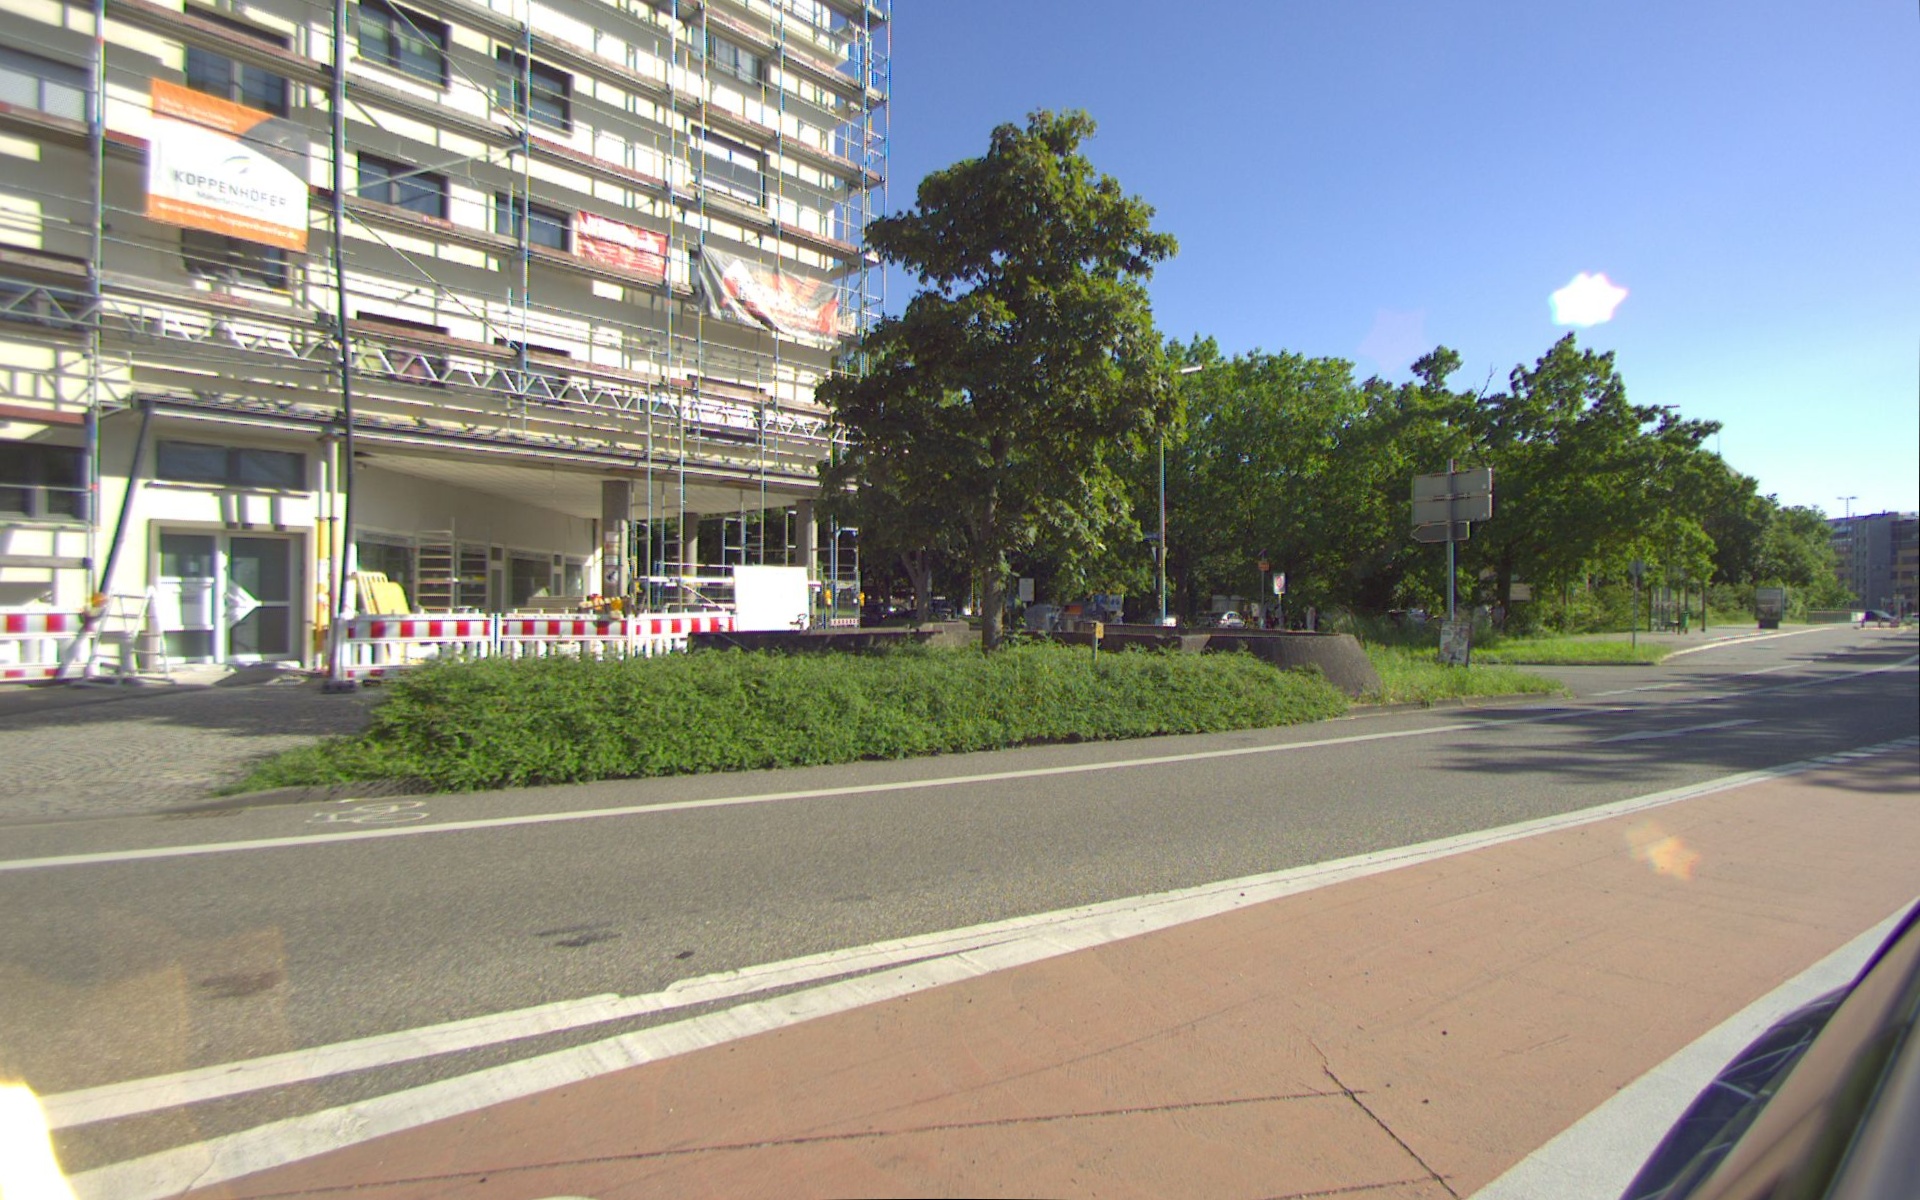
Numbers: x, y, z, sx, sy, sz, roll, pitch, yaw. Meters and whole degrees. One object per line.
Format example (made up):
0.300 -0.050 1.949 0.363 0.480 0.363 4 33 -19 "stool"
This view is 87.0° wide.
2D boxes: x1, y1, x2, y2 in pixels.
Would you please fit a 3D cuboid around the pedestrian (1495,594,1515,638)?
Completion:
21.370 0.615 39.707 0.403 1.721 0.602 1 0 -44 "pedestrian"

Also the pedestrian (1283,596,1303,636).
13.878 0.659 42.139 0.596 1.640 0.558 -2 -1 41 "pedestrian"

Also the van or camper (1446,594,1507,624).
35.172 0.584 68.887 2.449 1.937 5.246 0 0 42 "van or camper"

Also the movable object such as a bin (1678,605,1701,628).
32.784 0.738 45.471 0.568 1.043 0.727 1 0 -44 "movable object such as a bin"

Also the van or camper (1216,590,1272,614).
23.751 0.125 84.497 2.449 1.937 5.246 0 0 42 "van or camper"

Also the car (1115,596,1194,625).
9.746 0.497 50.854 3.573 1.331 1.600 0 2 41 "car"

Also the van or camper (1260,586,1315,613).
26.549 -0.046 81.998 2.448 2.186 5.249 0 0 40 "van or camper"

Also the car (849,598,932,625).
-3.681 0.579 53.905 3.925 1.314 1.999 -1 0 -36 "car"

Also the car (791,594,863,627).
-6.500 0.492 49.252 3.551 1.522 1.653 1 0 45 "car"

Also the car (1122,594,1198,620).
10.625 0.358 53.850 3.636 1.290 1.600 0 2 41 "car"

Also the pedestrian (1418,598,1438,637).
18.509 0.674 40.018 0.603 1.537 0.528 0 0 -41 "pedestrian"

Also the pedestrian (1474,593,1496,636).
20.652 0.566 39.820 0.542 1.655 0.622 1 0 -43 "pedestrian"

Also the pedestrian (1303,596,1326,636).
14.544 0.644 41.543 0.702 1.640 0.558 -2 -1 41 "pedestrian"

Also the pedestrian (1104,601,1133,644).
5.594 0.783 35.756 0.648 1.516 0.896 0 0 38 "pedestrian"
